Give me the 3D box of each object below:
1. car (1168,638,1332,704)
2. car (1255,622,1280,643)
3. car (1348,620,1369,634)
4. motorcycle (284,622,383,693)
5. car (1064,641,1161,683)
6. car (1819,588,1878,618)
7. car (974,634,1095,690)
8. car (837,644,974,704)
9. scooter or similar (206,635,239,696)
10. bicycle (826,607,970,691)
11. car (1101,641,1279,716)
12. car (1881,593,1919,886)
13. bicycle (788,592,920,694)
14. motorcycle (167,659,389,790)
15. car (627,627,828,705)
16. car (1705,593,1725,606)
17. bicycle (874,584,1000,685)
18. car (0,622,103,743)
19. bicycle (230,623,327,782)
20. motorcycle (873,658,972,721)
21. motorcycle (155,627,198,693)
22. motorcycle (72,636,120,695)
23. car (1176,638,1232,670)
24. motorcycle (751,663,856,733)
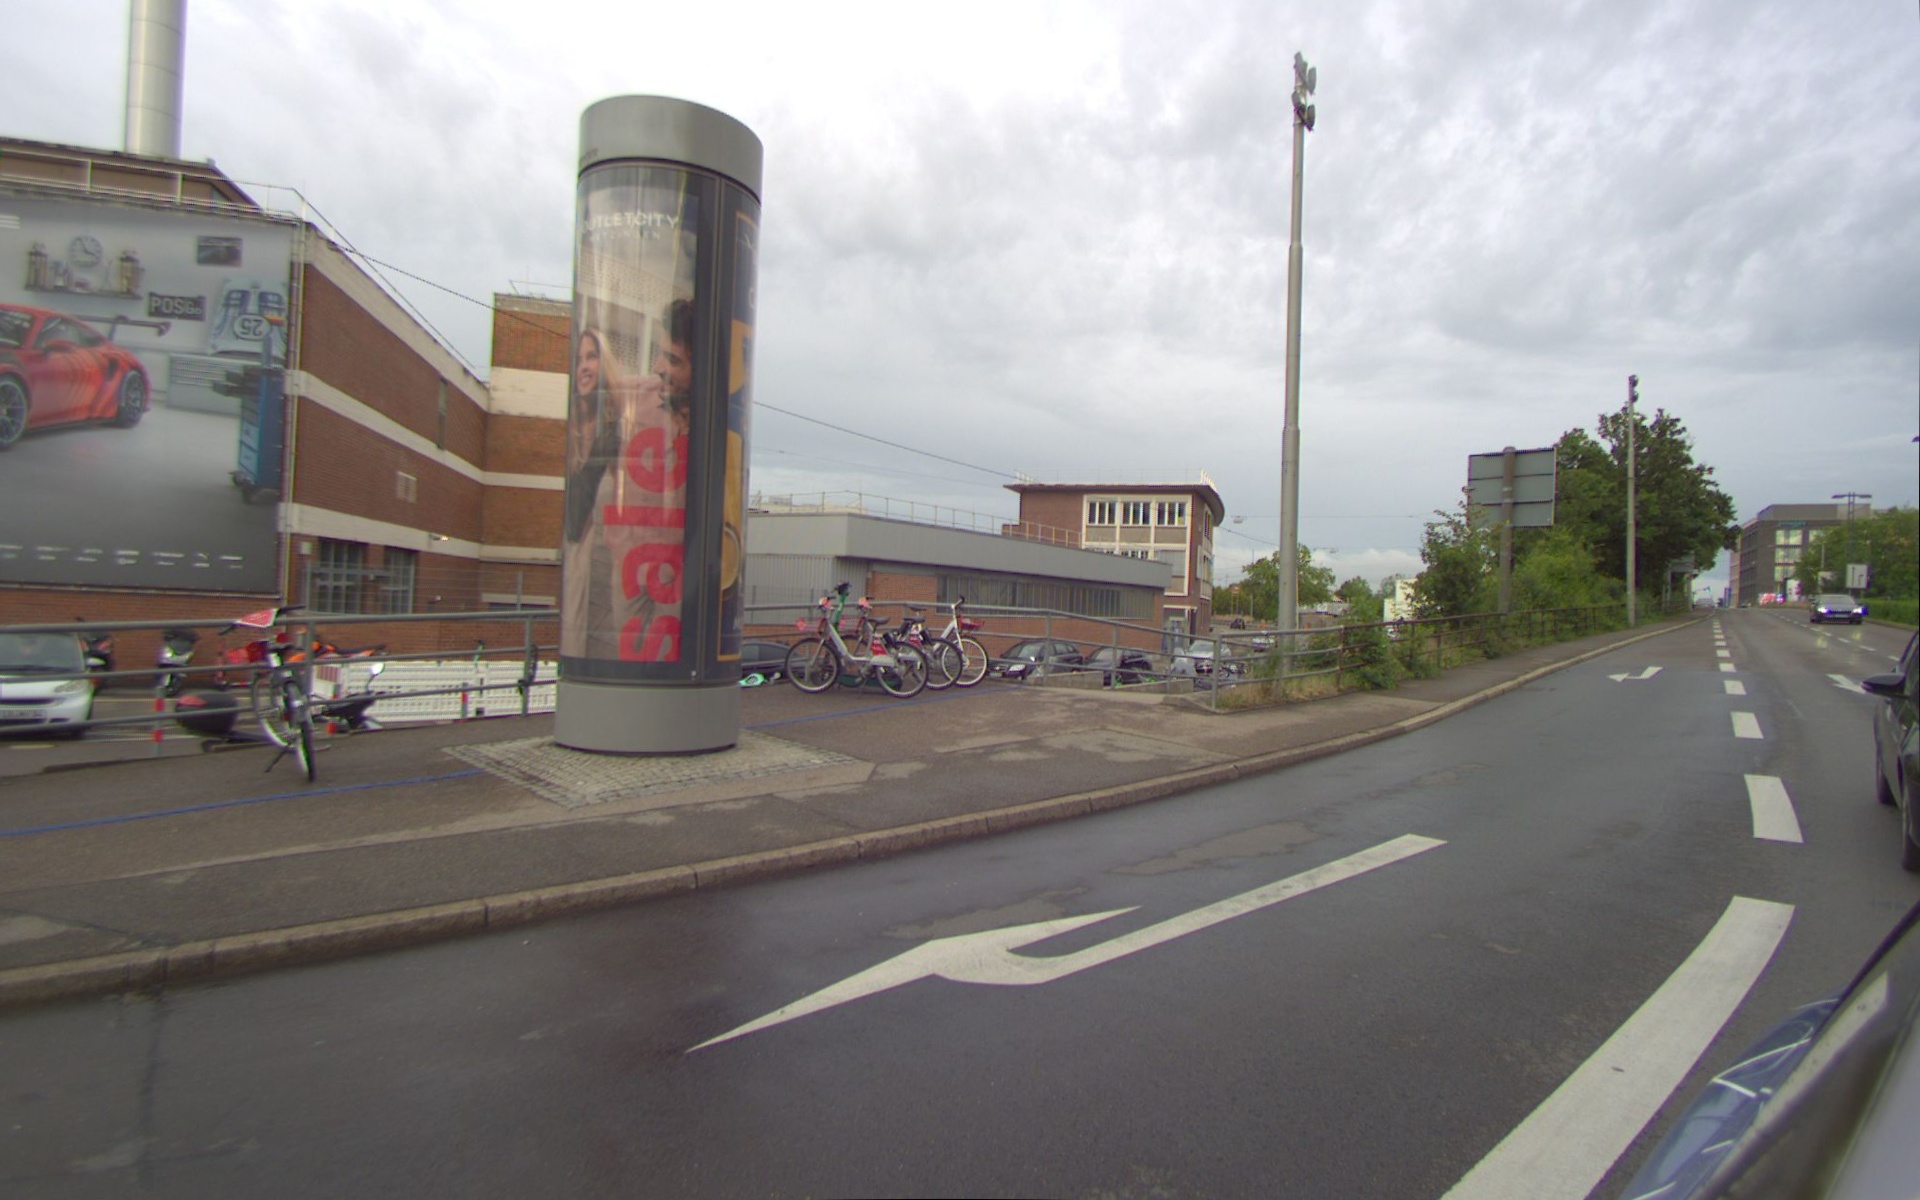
[{"bbox_3d":[7.604,1.822,26.851,1.688,1.444,3.999,2,-1,-36],"label":"car"},{"bbox_3d":[23.284,2.453,76.616,1.698,1.444,3.976,1,0,18],"label":"car"},{"bbox_3d":[44.470,2.955,113.018,1.695,1.444,3.982,1,0,14],"label":"car"},{"bbox_3d":[-12.857,1.149,20.807,0.521,1.350,1.646,-1,0,38],"label":"motorcycle"},{"bbox_3d":[5.939,2.339,39.015,1.713,1.422,4.211,1,-1,41],"label":"car"},{"bbox_3d":[44.385,0.143,50.623,1.807,1.457,4.246,0,0,36],"label":"car"},{"bbox_3d":[2.596,2.043,34.343,1.777,1.688,4.438,1,-1,41],"label":"car"},{"bbox_3d":[-1.499,2.054,28.934,1.712,1.444,3.943,1,-1,39],"label":"car"},{"bbox_3d":[-14.631,1.275,20.089,0.495,1.110,1.639,-1,0,-35],"label":"scooter or similar"},{"bbox_3d":[-0.729,0.574,12.129,1.673,0.933,0.486,1,1,4],"label":"bicycle"},{"bbox_3d":[5.354,1.783,23.975,1.688,1.444,3.999,2,-1,-36],"label":"car"},{"bbox_3d":[6.783,0.730,6.078,1.687,1.526,3.953,0,1,40],"label":"car"},{"bbox_3d":[-1.215,0.480,11.659,1.438,1.087,0.442,2,2,9],"label":"bicycle"},{"bbox_3d":[-5.719,1.006,8.569,0.400,0.901,1.521,1,1,36],"label":"motorcycle"},{"bbox_3d":[-5.382,1.471,23.907,1.880,1.570,4.445,1,-1,38],"label":"car"},{"bbox_3d":[88.960,-0.027,119.266,1.738,1.493,4.018,0,0,35],"label":"car"},{"bbox_3d":[-0.298,0.412,12.859,1.527,1.169,0.448,3,3,22],"label":"bicycle"},{"bbox_3d":[-13.987,1.145,15.199,1.541,1.508,3.992,2,-1,-42],"label":"car"},{"bbox_3d":[-4.825,0.661,7.129,0.414,0.933,1.615,1,0,-39],"label":"bicycle"},{"bbox_3d":[-0.621,1.434,16.484,1.599,0.933,0.418,0,0,25],"label":"motorcycle"},{"bbox_3d":[-15.221,1.146,19.683,0.574,1.166,1.720,-1,0,-35],"label":"motorcycle"},{"bbox_3d":[-16.094,1.194,18.881,0.531,0.985,1.616,-1,0,-35],"label":"motorcycle"},{"bbox_3d":[12.270,2.698,50.772,1.718,1.406,3.958,1,-1,29],"label":"car"},{"bbox_3d":[-2.340,1.436,15.067,1.600,0.933,0.417,0,0,27],"label":"motorcycle"}]
